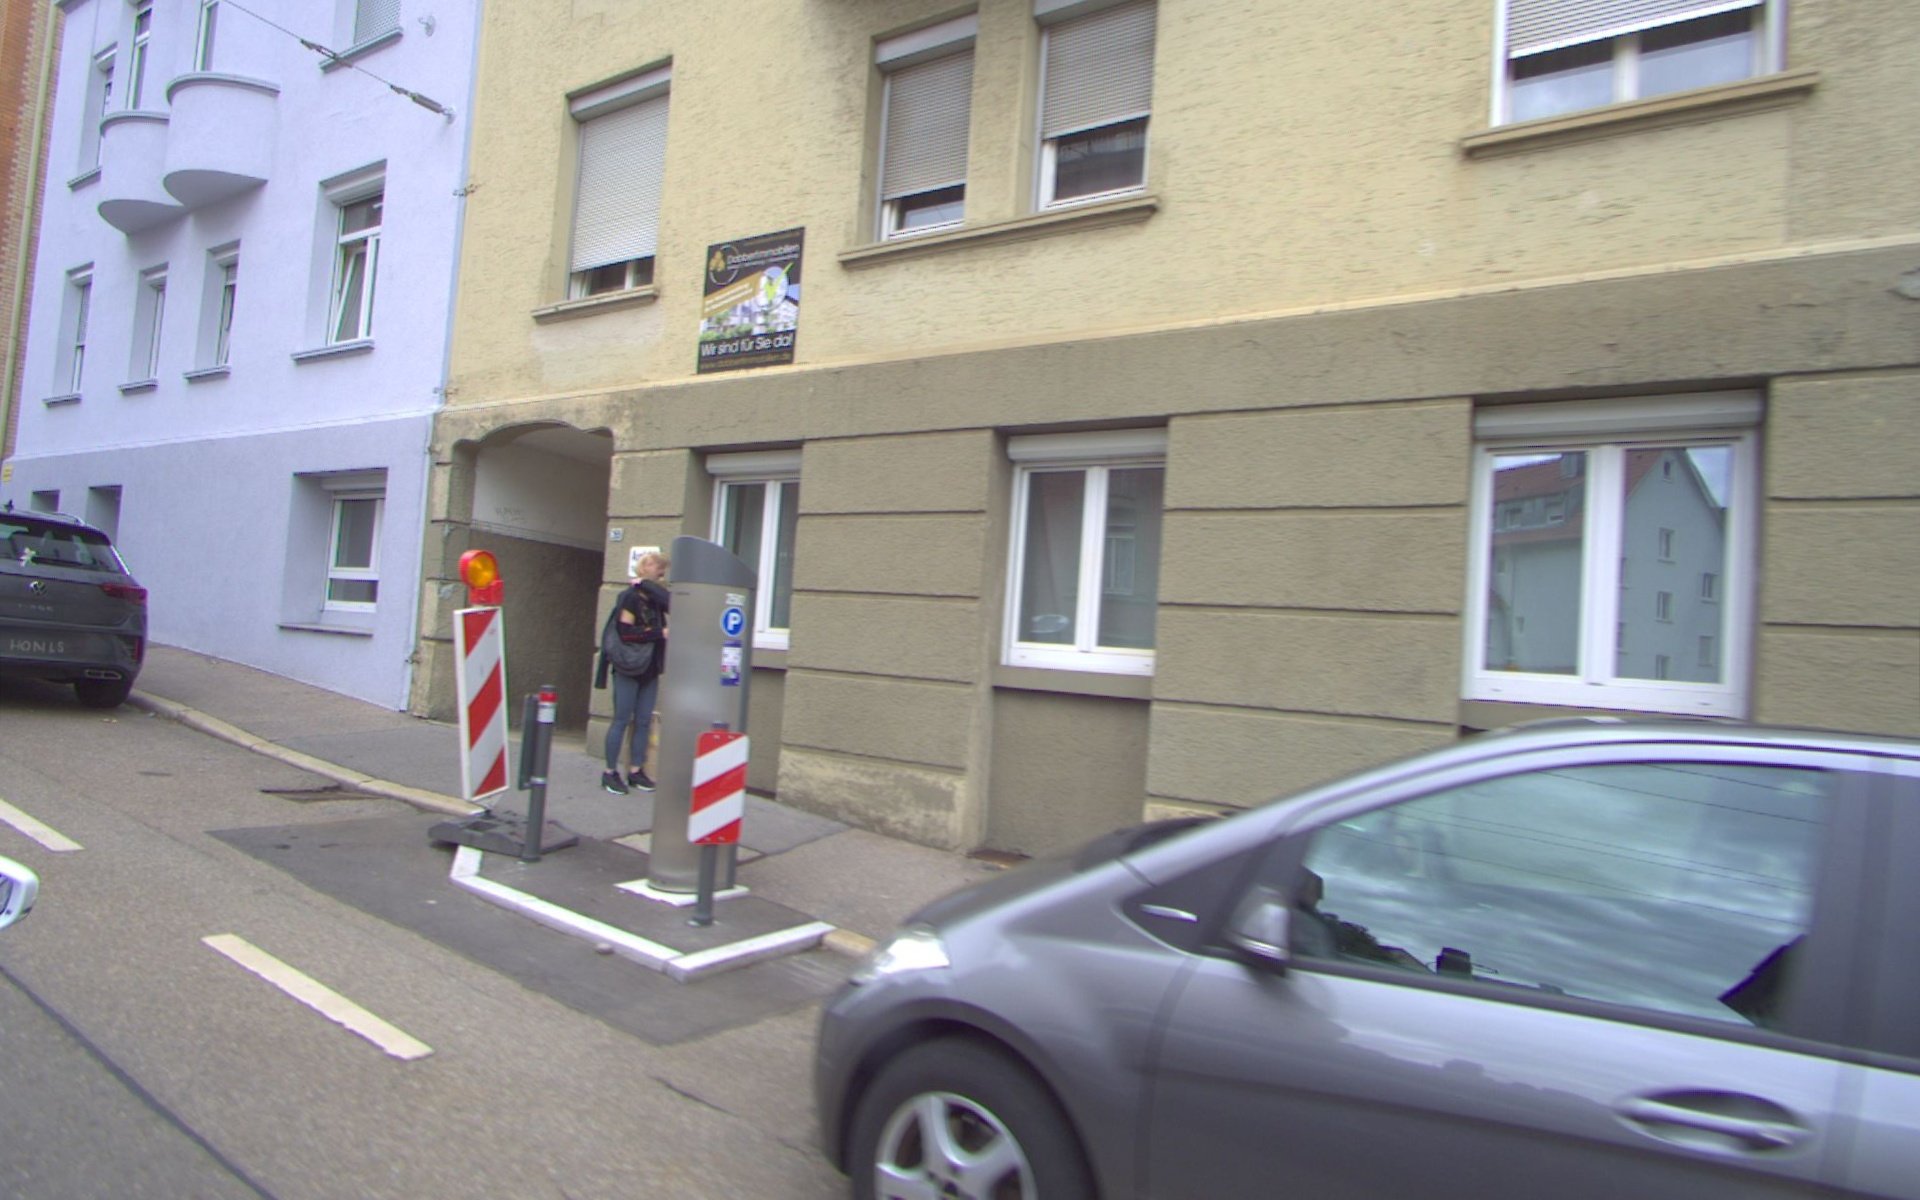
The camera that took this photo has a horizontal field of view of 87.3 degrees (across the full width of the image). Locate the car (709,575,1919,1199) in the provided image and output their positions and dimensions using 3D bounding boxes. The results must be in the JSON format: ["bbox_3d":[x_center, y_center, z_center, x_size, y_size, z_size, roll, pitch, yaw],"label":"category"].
[{"bbox_3d":[1.607,1.016,2.298,3.961,1.535,1.833,7,-4,32],"label":"car"}]

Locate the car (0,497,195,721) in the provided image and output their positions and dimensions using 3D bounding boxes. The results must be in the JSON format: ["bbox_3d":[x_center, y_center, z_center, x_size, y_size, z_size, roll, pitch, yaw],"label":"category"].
[{"bbox_3d":[-8.597,-0.110,8.515,4.122,1.546,1.786,6,-5,31],"label":"car"}]

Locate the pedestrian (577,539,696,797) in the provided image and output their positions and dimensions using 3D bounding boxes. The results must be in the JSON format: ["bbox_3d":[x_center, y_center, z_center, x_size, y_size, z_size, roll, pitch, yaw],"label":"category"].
[{"bbox_3d":[-2.249,0.450,7.016,0.507,1.704,0.541,4,2,23],"label":"pedestrian"}]

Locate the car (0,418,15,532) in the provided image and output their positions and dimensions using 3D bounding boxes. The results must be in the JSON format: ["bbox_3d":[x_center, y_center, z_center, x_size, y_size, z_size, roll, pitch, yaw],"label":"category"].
[{"bbox_3d":[-12.904,-1.044,11.232,4.972,2.403,1.998,6,-2,31],"label":"car"}]
